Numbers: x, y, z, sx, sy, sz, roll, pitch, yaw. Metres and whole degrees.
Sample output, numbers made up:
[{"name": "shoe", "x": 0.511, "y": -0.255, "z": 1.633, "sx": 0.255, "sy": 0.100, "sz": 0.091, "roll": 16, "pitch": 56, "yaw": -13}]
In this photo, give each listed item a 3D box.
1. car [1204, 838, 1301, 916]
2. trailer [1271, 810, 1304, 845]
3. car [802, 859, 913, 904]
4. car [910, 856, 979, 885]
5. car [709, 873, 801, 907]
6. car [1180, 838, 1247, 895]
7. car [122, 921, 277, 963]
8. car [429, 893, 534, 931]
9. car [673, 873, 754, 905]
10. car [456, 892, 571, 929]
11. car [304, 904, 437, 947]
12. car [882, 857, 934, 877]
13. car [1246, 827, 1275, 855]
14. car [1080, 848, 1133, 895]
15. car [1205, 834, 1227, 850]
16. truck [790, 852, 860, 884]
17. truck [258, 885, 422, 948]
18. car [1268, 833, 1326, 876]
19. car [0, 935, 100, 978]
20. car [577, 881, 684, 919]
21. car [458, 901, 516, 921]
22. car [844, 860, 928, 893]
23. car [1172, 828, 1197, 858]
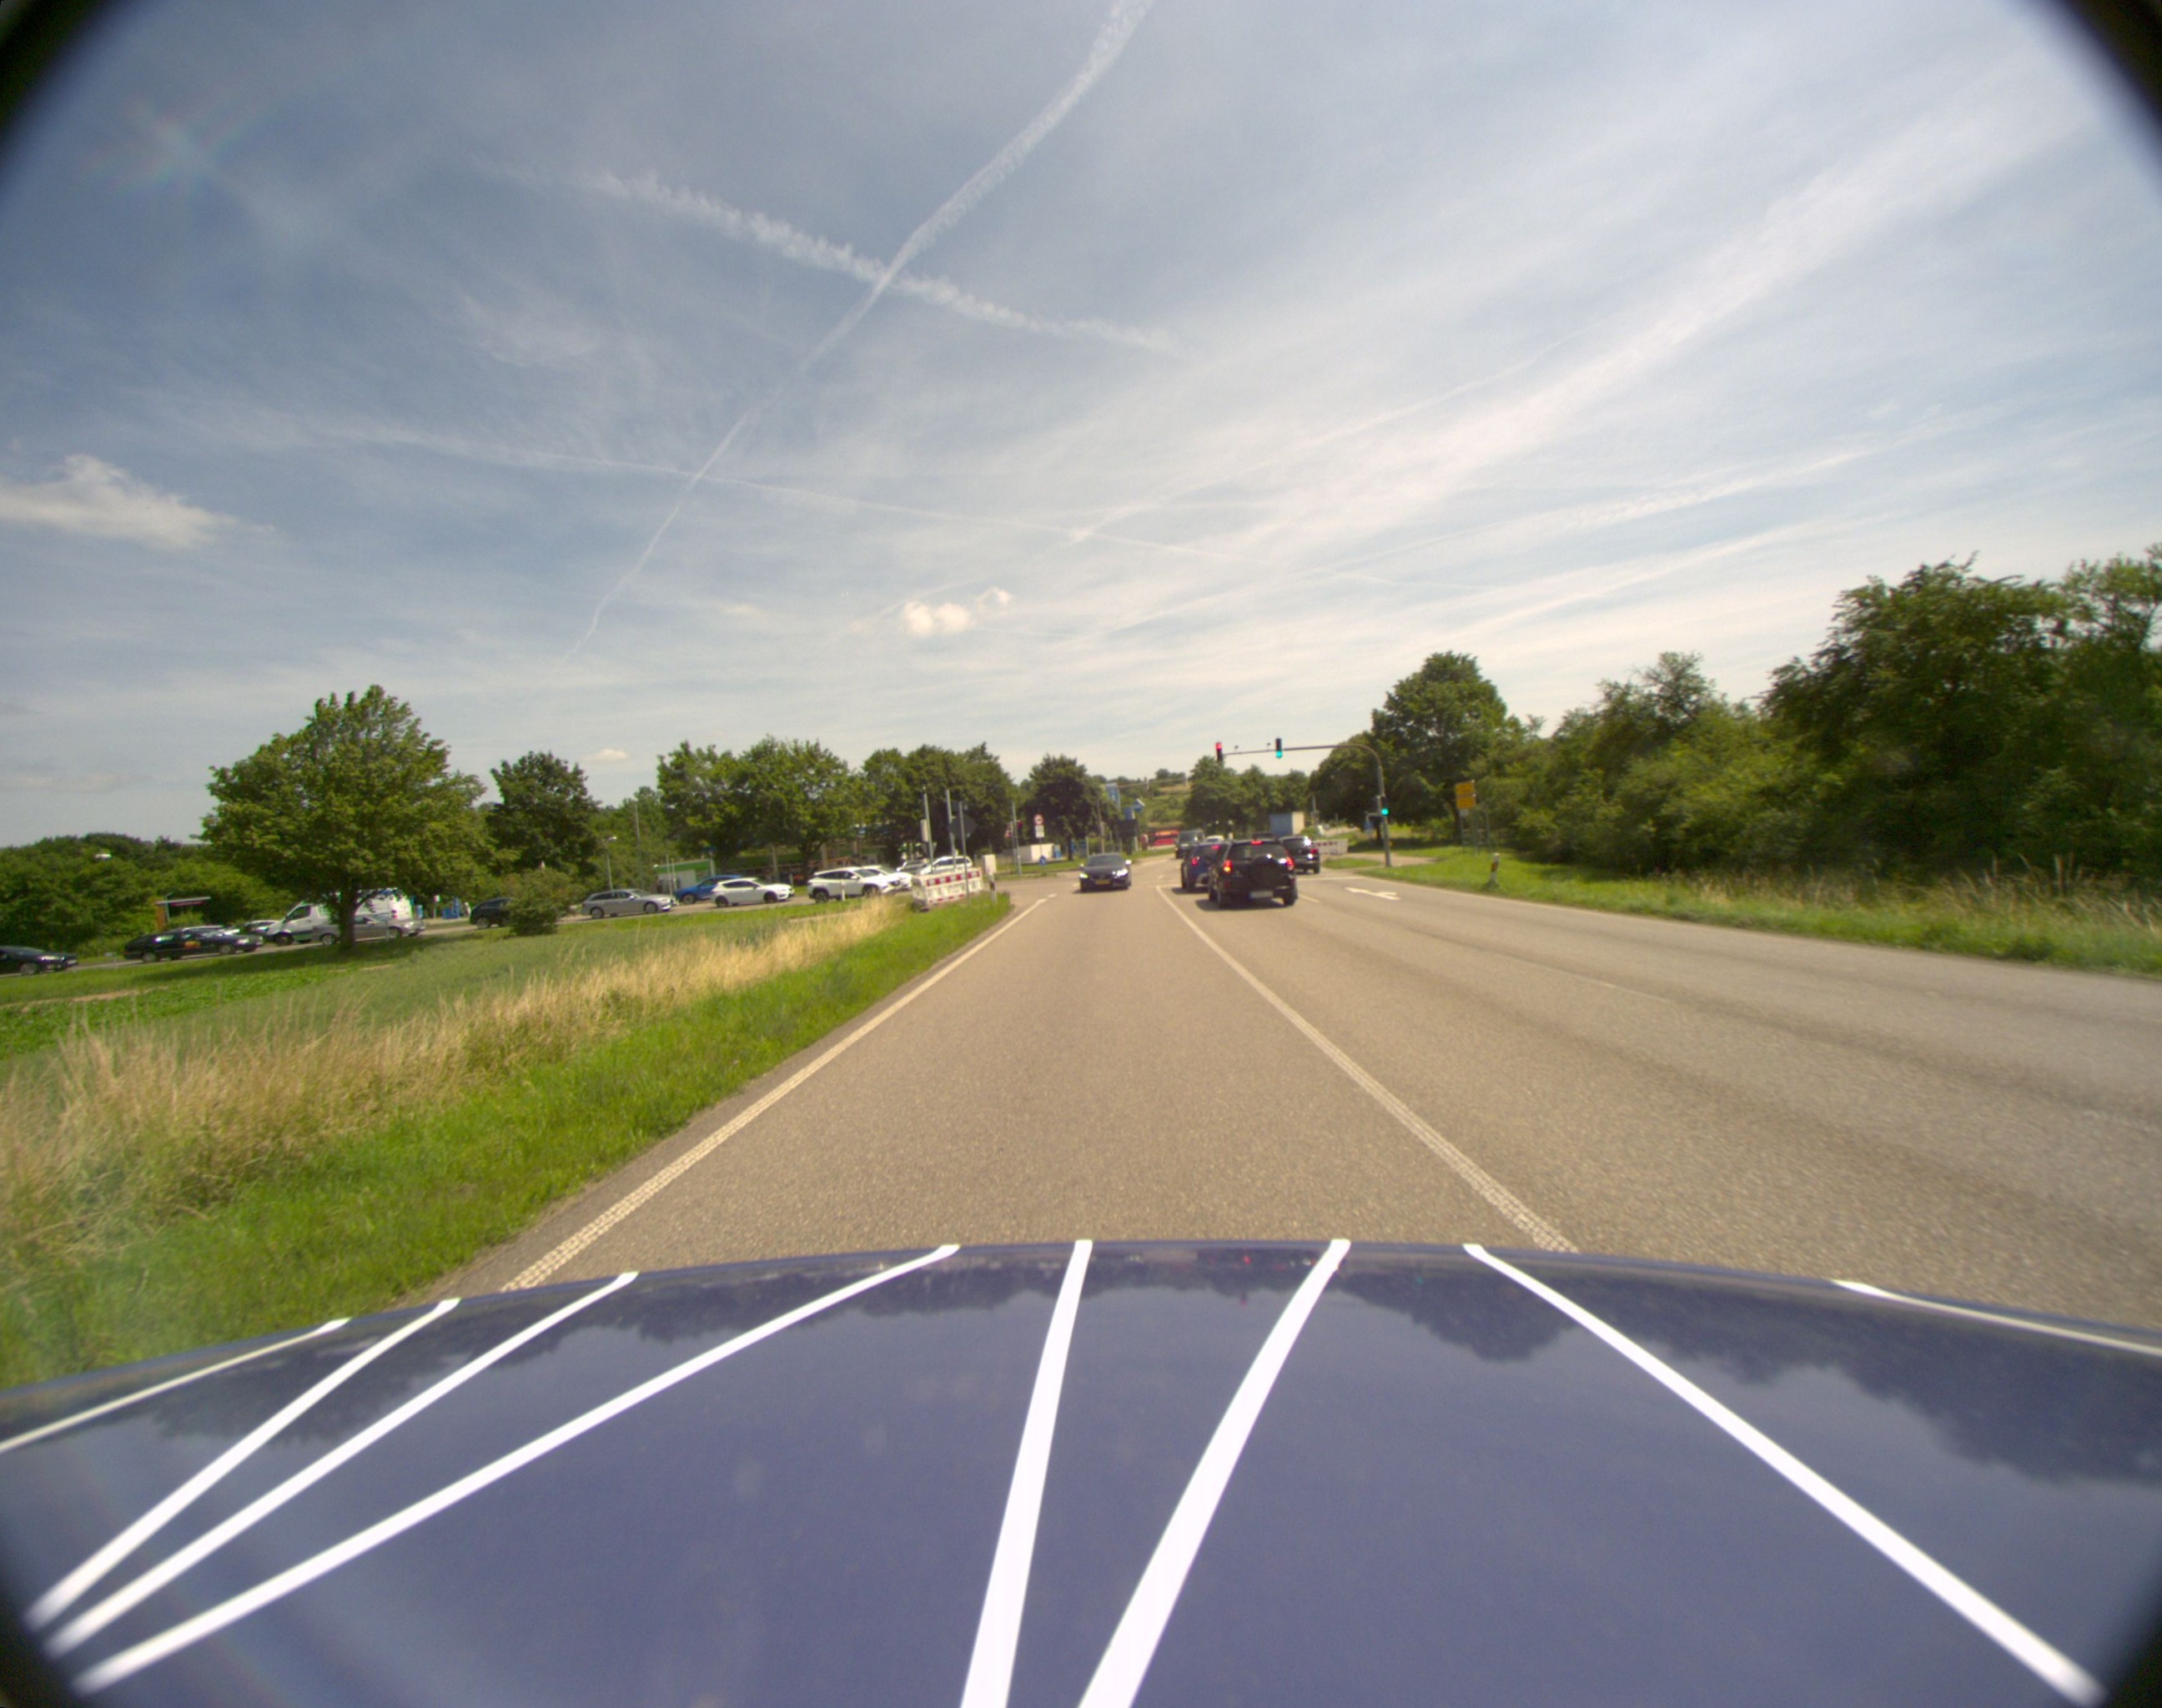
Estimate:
[{"name": "car", "x": 4.211, "y": 0.478, "z": 19.210, "sx": 1.775, "sy": 1.649, "sz": 4.000, "roll": -3, "pitch": 1, "yaw": 5}, {"name": "trailer", "x": 26.463, "y": -3.385, "z": 96.981, "sx": 2.569, "sy": 4.007, "sz": 13.611, "roll": -3, "pitch": 1, "yaw": 21}, {"name": "car", "x": -10.828, "y": 1.319, "z": 36.886, "sx": 4.633, "sy": 1.599, "sz": 1.999, "roll": -5, "pitch": 4, "yaw": 14}, {"name": "car", "x": -10.000, "y": 1.201, "z": 55.686, "sx": 4.532, "sy": 1.683, "sz": 1.862, "roll": -6, "pitch": 3, "yaw": -32}, {"name": "car", "x": -17.616, "y": 1.946, "z": 41.225, "sx": 4.102, "sy": 1.411, "sz": 1.800, "roll": -4, "pitch": 3, "yaw": 1}, {"name": "car", "x": 4.366, "y": 0.355, "z": 25.555, "sx": 1.775, "sy": 1.649, "sz": 4.000, "roll": -3, "pitch": 1, "yaw": 5}, {"name": "car", "x": -43.119, "y": 4.280, "z": 37.322, "sx": 4.565, "sy": 1.266, "sz": 1.797, "roll": -6, "pitch": 3, "yaw": -21}, {"name": "car", "x": -36.209, "y": 3.451, "z": 46.043, "sx": 4.530, "sy": 1.683, "sz": 1.863, "roll": -5, "pitch": 3, "yaw": -21}, {"name": "car", "x": -23.255, "y": 2.179, "z": 48.286, "sx": 4.391, "sy": 1.549, "sz": 1.781, "roll": -5, "pitch": 1, "yaw": -22}, {"name": "car", "x": -30.117, "y": 2.987, "z": 40.454, "sx": 4.559, "sy": 1.502, "sz": 1.800, "roll": -4, "pitch": 2, "yaw": -3}, {"name": "car", "x": -36.403, "y": 3.644, "z": 39.072, "sx": 4.563, "sy": 1.502, "sz": 1.798, "roll": -5, "pitch": 3, "yaw": -16}, {"name": "car", "x": -17.945, "y": 1.303, "z": 78.957, "sx": 2.033, "sy": 1.594, "sz": 4.948, "roll": -2, "pitch": 3, "yaw": 41}, {"name": "car", "x": 14.242, "y": -1.053, "z": 60.511, "sx": 1.997, "sy": 1.994, "sz": 5.167, "roll": -3, "pitch": 1, "yaw": 12}, {"name": "car", "x": 1.006, "y": 0.618, "z": 29.487, "sx": 1.783, "sy": 1.484, "sz": 4.157, "roll": -4, "pitch": 1, "yaw": 2}, {"name": "car", "x": 15.146, "y": -1.332, "z": 85.116, "sx": 1.781, "sy": 1.485, "sz": 4.161, "roll": -3, "pitch": 2, "yaw": 18}, {"name": "truck", "x": -25.581, "y": 1.408, "z": 76.118, "sx": 2.257, "sy": 2.603, "sz": 6.159, "roll": -4, "pitch": 2, "yaw": 40}, {"name": "truck", "x": -40.698, "y": 3.357, "z": 41.939, "sx": 5.947, "sy": 2.722, "sz": 2.069, "roll": -4, "pitch": 3, "yaw": -21}, {"name": "car", "x": 9.422, "y": -0.023, "z": 33.425, "sx": 1.997, "sy": 1.686, "sz": 4.002, "roll": -3, "pitch": 2, "yaw": 11}, {"name": "car", "x": -49.050, "y": 4.852, "z": 35.014, "sx": 4.236, "sy": 1.502, "sz": 1.797, "roll": -6, "pitch": 3, "yaw": -24}, {"name": "car", "x": -24.426, "y": 2.478, "z": 41.313, "sx": 4.560, "sy": 1.501, "sz": 1.800, "roll": -5, "pitch": 2, "yaw": -4}, {"name": "car", "x": -56.452, "y": 5.401, "z": 72.265, "sx": 3.843, "sy": 1.372, "sz": 1.726, "roll": -5, "pitch": 1, "yaw": -15}, {"name": "car", "x": -10.579, "y": 1.234, "z": 41.306, "sx": 3.965, "sy": 1.411, "sz": 1.829, "roll": -4, "pitch": 3, "yaw": 16}, {"name": "car", "x": 9.713, "y": -1.077, "z": 70.830, "sx": 1.979, "sy": 2.505, "sz": 4.159, "roll": -4, "pitch": 2, "yaw": 10}]
